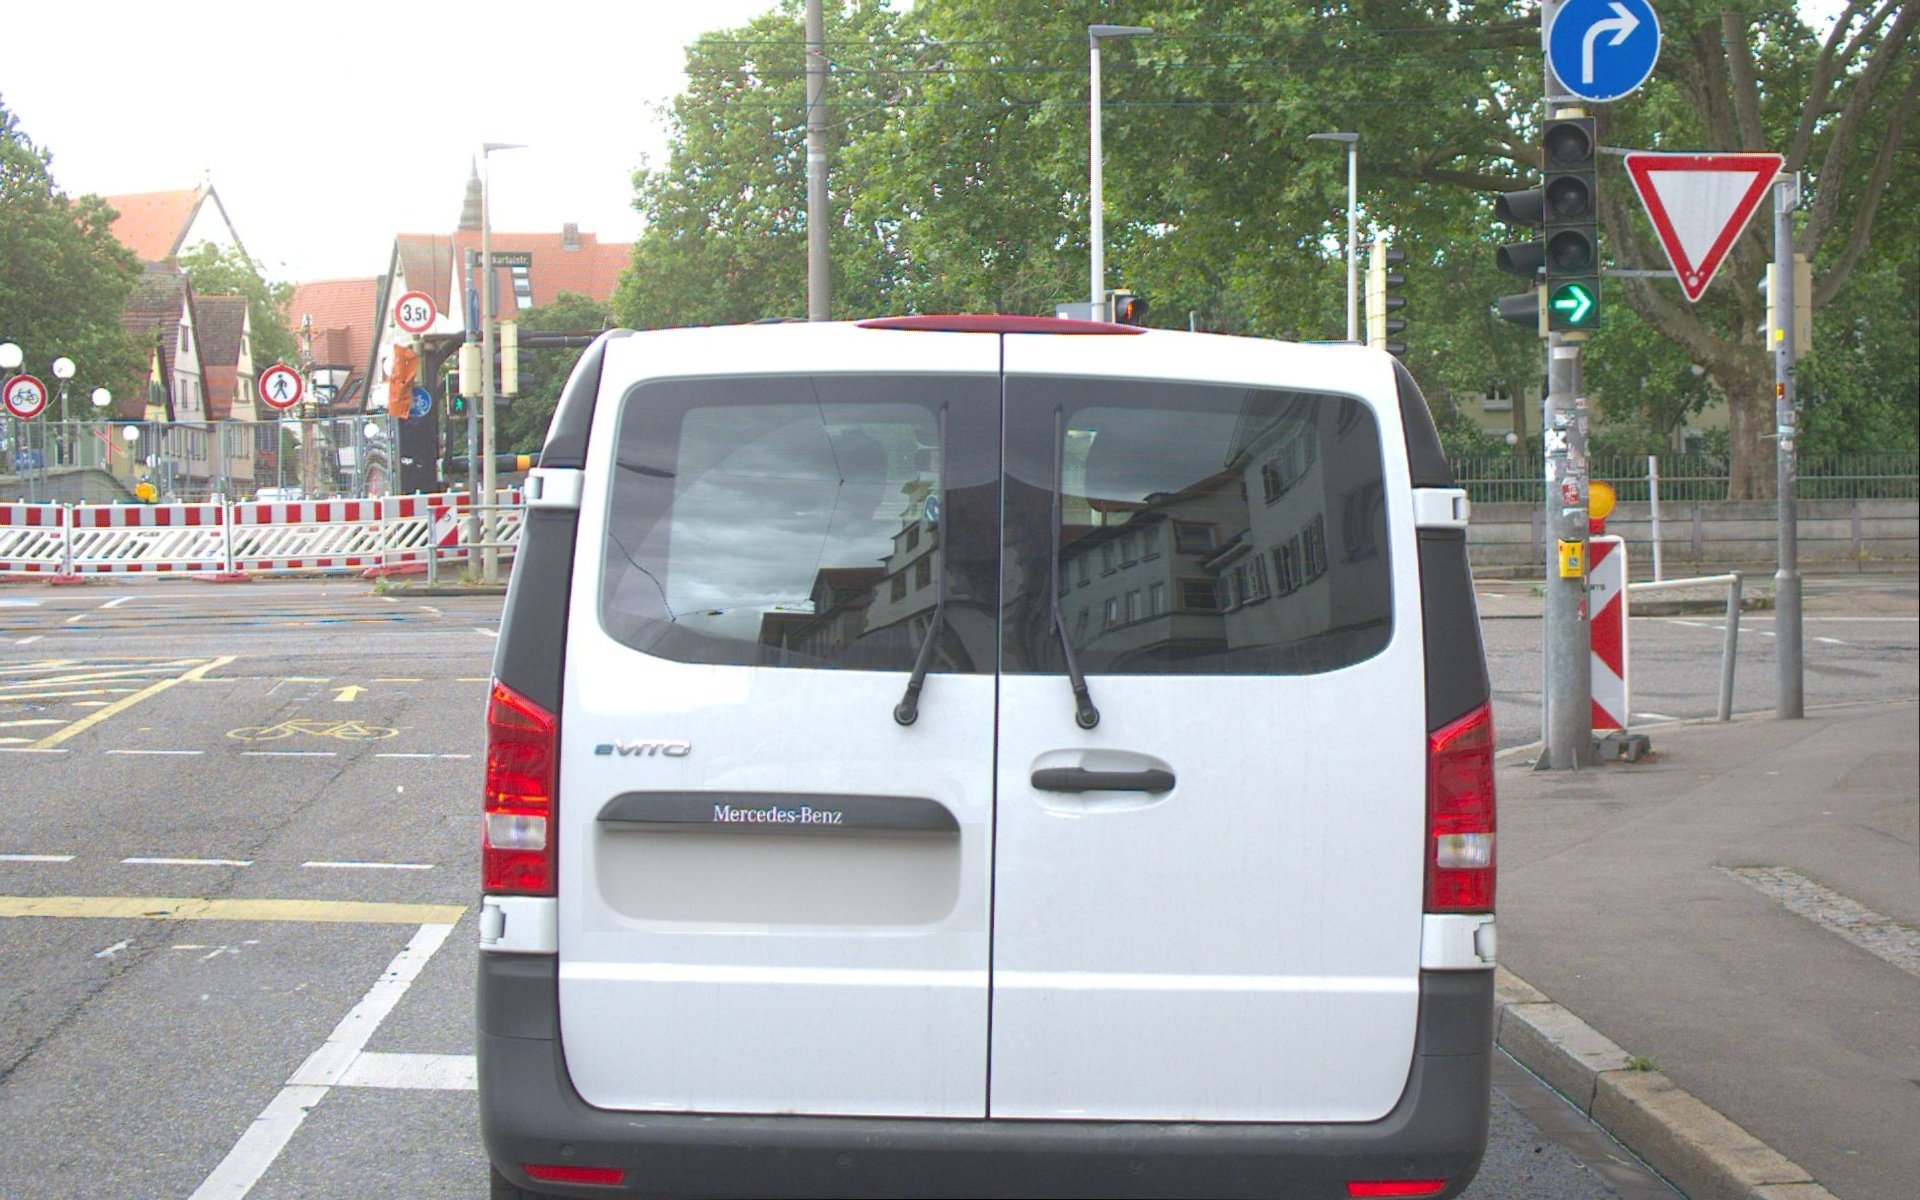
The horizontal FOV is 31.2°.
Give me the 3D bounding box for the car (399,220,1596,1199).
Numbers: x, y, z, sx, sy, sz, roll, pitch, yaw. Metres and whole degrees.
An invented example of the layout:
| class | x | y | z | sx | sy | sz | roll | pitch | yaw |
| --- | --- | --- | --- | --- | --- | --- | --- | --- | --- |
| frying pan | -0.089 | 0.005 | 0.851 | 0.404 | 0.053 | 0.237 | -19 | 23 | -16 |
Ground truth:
| class | x | y | z | sx | sy | sz | roll | pitch | yaw |
| --- | --- | --- | --- | --- | --- | --- | --- | --- | --- |
| car | 0.030 | 0.295 | 8.028 | 1.951 | 2.006 | 4.699 | 1 | 2 | -1 |
